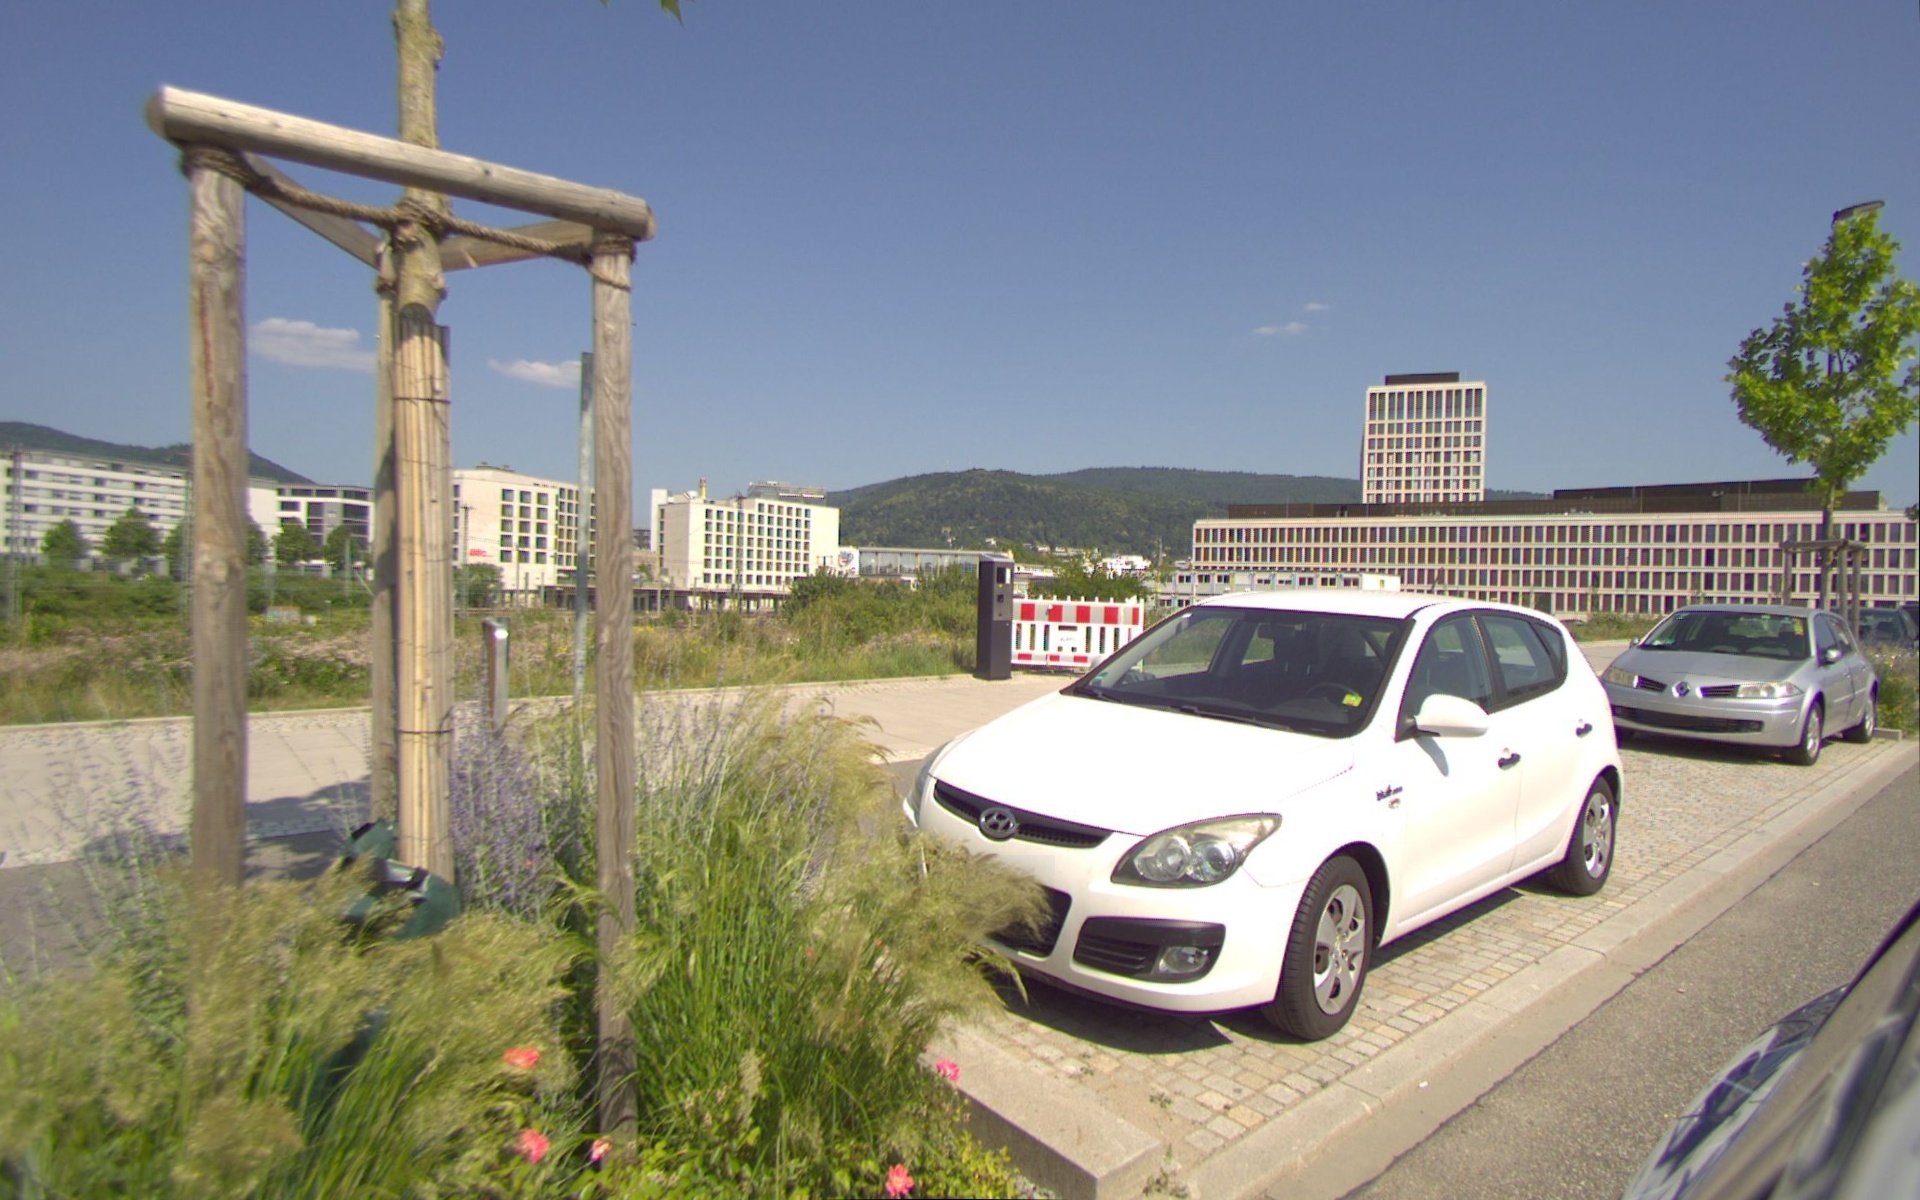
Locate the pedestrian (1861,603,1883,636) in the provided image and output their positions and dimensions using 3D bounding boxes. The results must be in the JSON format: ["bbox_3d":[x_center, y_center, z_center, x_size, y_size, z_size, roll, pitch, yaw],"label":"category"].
[{"bbox_3d":[49.976,1.068,55.477,0.728,1.726,0.782,1,0,-40],"label":"pedestrian"}]

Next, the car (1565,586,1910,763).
[{"bbox_3d":[8.331,0.655,10.733,4.081,1.497,1.914,1,1,-38],"label":"car"}]

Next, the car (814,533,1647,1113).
[{"bbox_3d":[1.499,0.603,4.628,3.931,1.528,1.749,2,1,-42],"label":"car"}]

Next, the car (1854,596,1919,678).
[{"bbox_3d":[20.595,0.772,21.315,4.081,1.597,1.914,1,1,-38],"label":"car"}]

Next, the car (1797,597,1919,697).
[{"bbox_3d":[15.847,0.740,17.385,4.299,1.495,1.791,1,1,-44],"label":"car"}]
